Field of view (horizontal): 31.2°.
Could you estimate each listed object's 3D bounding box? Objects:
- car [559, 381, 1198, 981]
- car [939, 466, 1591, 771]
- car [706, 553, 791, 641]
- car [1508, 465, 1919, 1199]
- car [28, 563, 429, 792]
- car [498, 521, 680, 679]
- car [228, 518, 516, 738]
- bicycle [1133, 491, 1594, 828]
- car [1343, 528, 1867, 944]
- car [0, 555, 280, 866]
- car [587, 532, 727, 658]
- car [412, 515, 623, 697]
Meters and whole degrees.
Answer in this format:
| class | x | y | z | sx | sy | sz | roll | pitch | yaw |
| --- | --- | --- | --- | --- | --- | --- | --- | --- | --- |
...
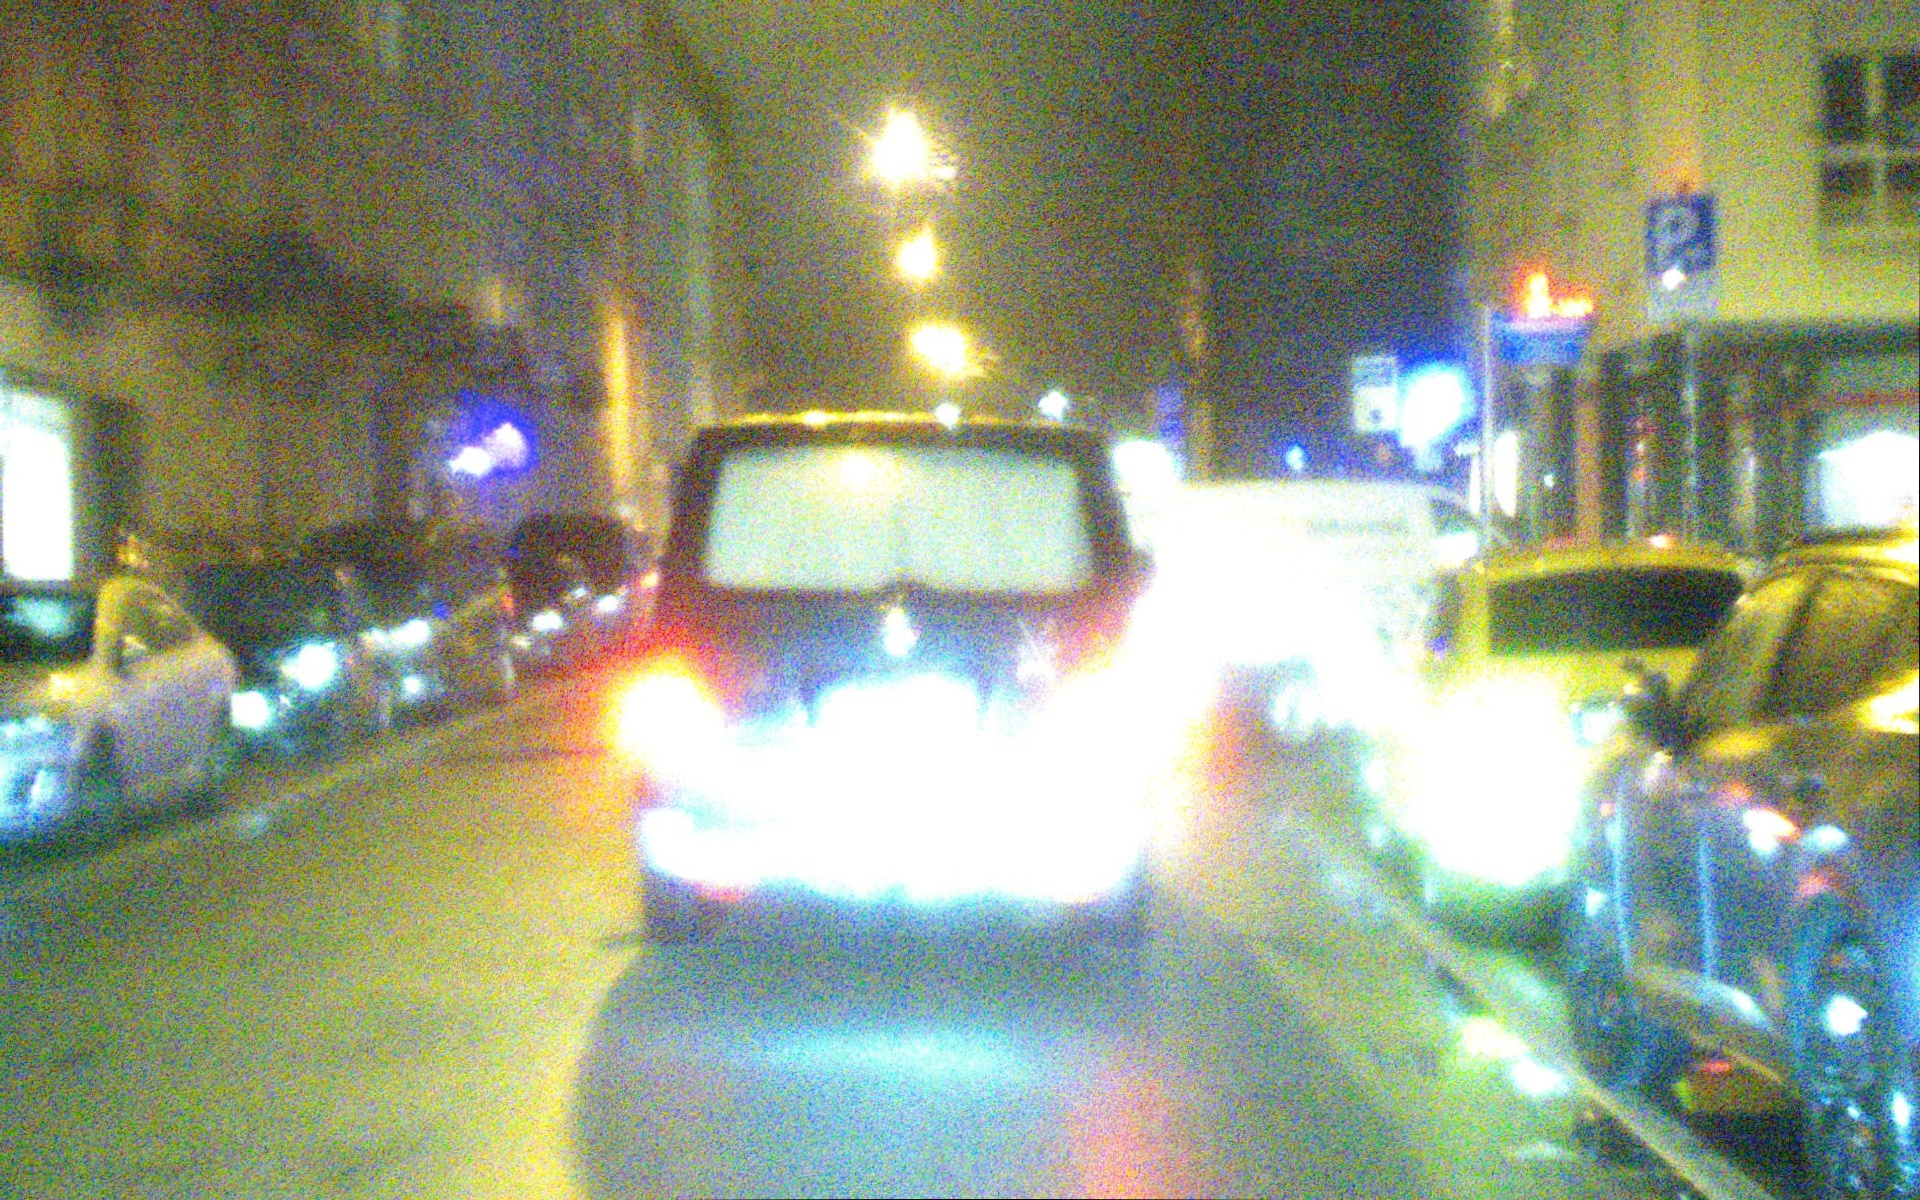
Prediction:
| class | x | y | z | sx | sy | sz | roll | pitch | yaw |
| --- | --- | --- | --- | --- | --- | --- | --- | --- | --- |
| car | -0.443 | 0.226 | 13.806 | 2.122 | 1.984 | 4.602 | -1 | 1 | -4 |
| car | 2.243 | 0.059 | 24.088 | 2.128 | 1.915 | 4.814 | 1 | 2 | 41 |
| car | -5.002 | -0.092 | 81.681 | 1.749 | 2.007 | 4.000 | 1 | 1 | 0 |
| car | 2.558 | 0.550 | 8.350 | 1.753 | 1.602 | 3.990 | 0 | 0 | -1 |
| car | -5.000 | 0.478 | 24.051 | 1.993 | 1.444 | 4.000 | 1 | 1 | -1 |
| car | -4.921 | -0.019 | 46.133 | 1.993 | 2.007 | 4.000 | 1 | 1 | 0 |
| car | -5.277 | 0.219 | 31.362 | 1.993 | 1.856 | 4.094 | 1 | 1 | -1 |
| bicycle | 2.192 | 0.320 | 18.940 | 2.320 | 1.633 | 0.888 | -5 | 0 | 1 |
| car | 2.581 | 0.501 | 14.449 | 1.592 | 1.538 | 3.420 | 0 | 0 | 1 |
| car | -5.169 | 0.510 | 19.140 | 1.754 | 1.444 | 4.623 | 1 | 1 | 1 |
| car | -5.032 | -0.106 | 57.543 | 1.993 | 2.007 | 4.000 | 1 | 1 | 0 |
| car | -5.134 | 0.046 | 40.390 | 1.993 | 2.007 | 4.000 | 1 | 1 | -1 |
